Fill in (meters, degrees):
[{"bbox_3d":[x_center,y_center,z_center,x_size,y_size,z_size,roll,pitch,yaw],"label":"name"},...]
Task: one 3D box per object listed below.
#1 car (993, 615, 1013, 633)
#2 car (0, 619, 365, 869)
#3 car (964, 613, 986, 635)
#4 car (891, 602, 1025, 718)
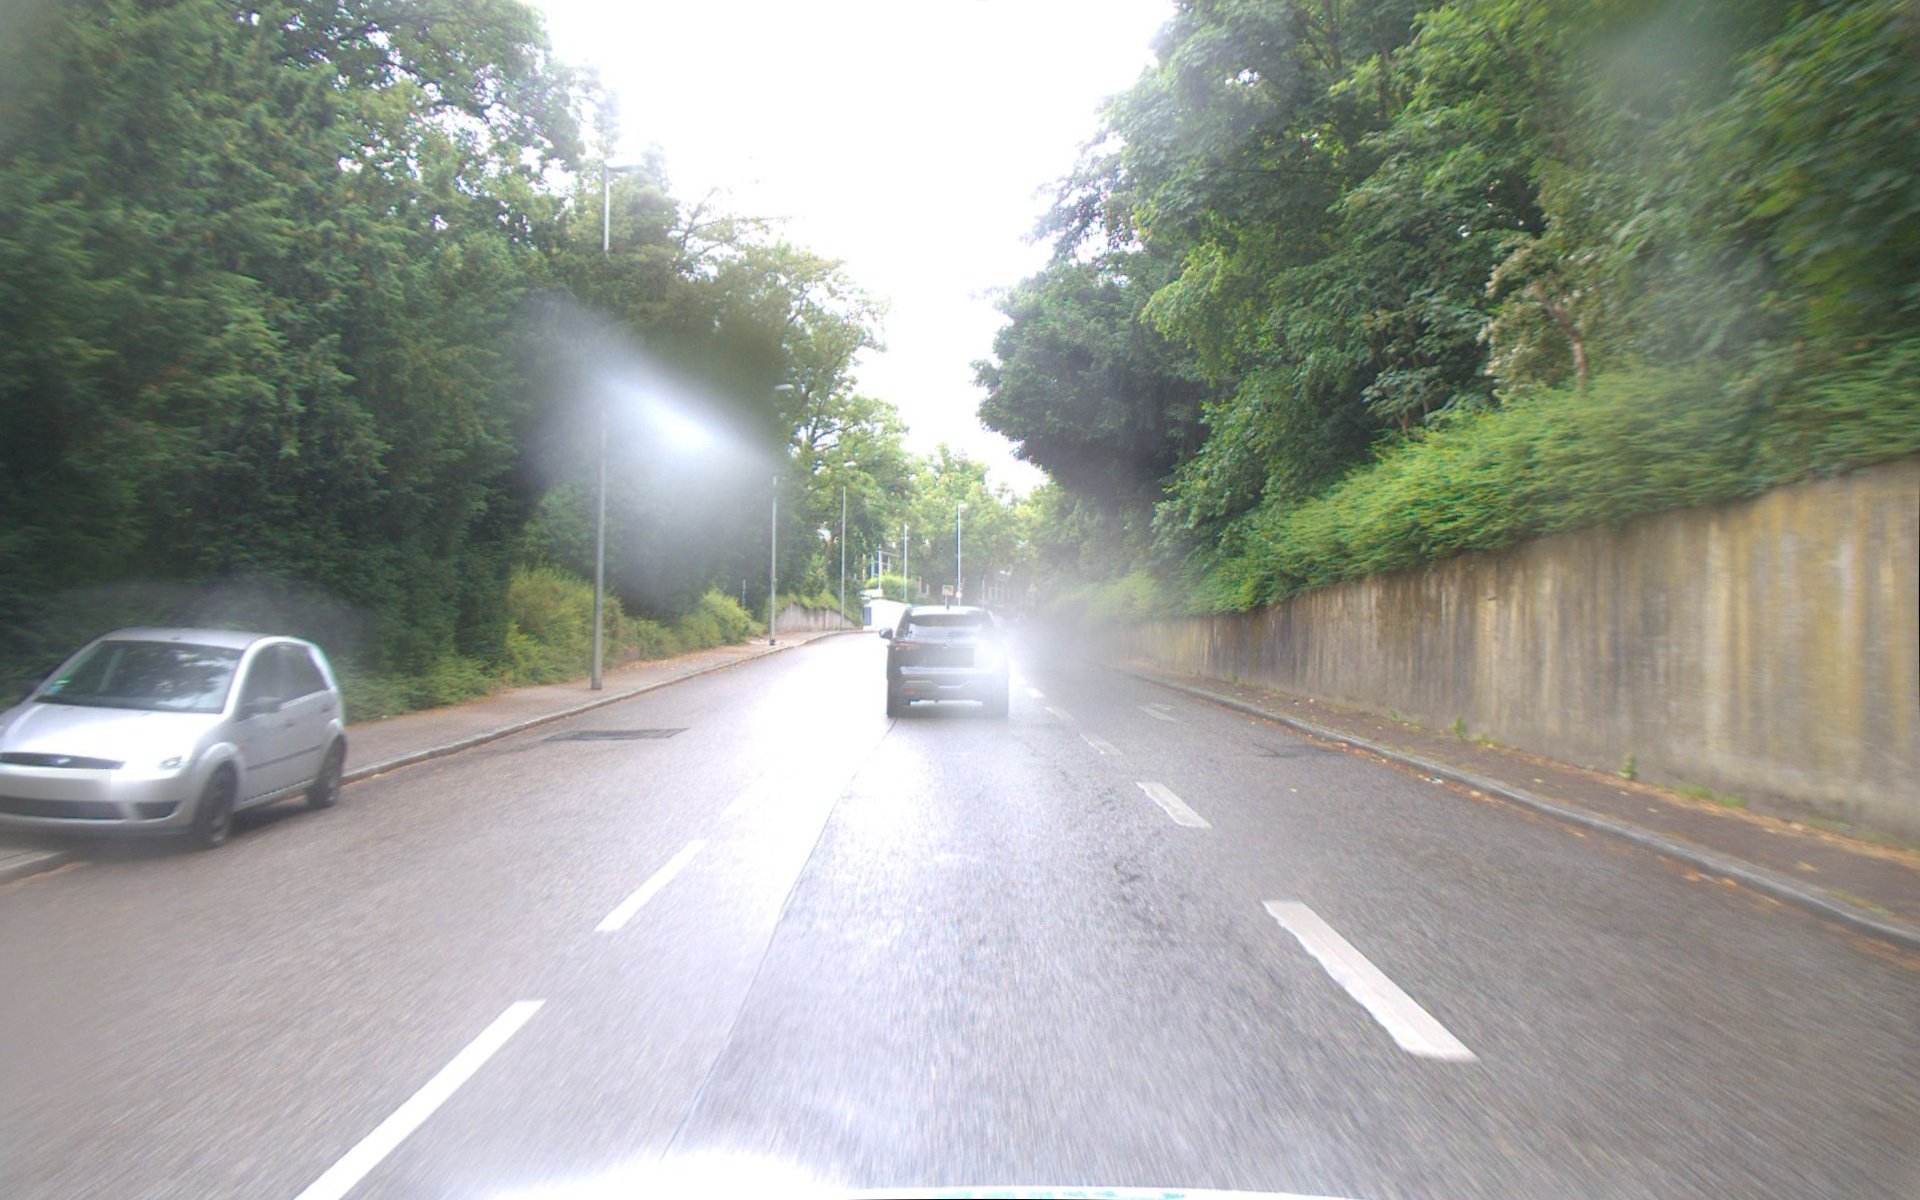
[{"bbox_3d":[3.762,2.090,145.264,1.641,1.522,3.459,0,0,-1],"label":"car"},{"bbox_3d":[-5.928,0.944,12.492,1.594,1.525,3.925,2,0,-3],"label":"car"},{"bbox_3d":[1.232,1.966,136.223,1.793,1.741,4.000,0,0,1],"label":"car"},{"bbox_3d":[-0.058,0.860,25.337,1.889,1.641,3.999,0,0,-1],"label":"car"}]
